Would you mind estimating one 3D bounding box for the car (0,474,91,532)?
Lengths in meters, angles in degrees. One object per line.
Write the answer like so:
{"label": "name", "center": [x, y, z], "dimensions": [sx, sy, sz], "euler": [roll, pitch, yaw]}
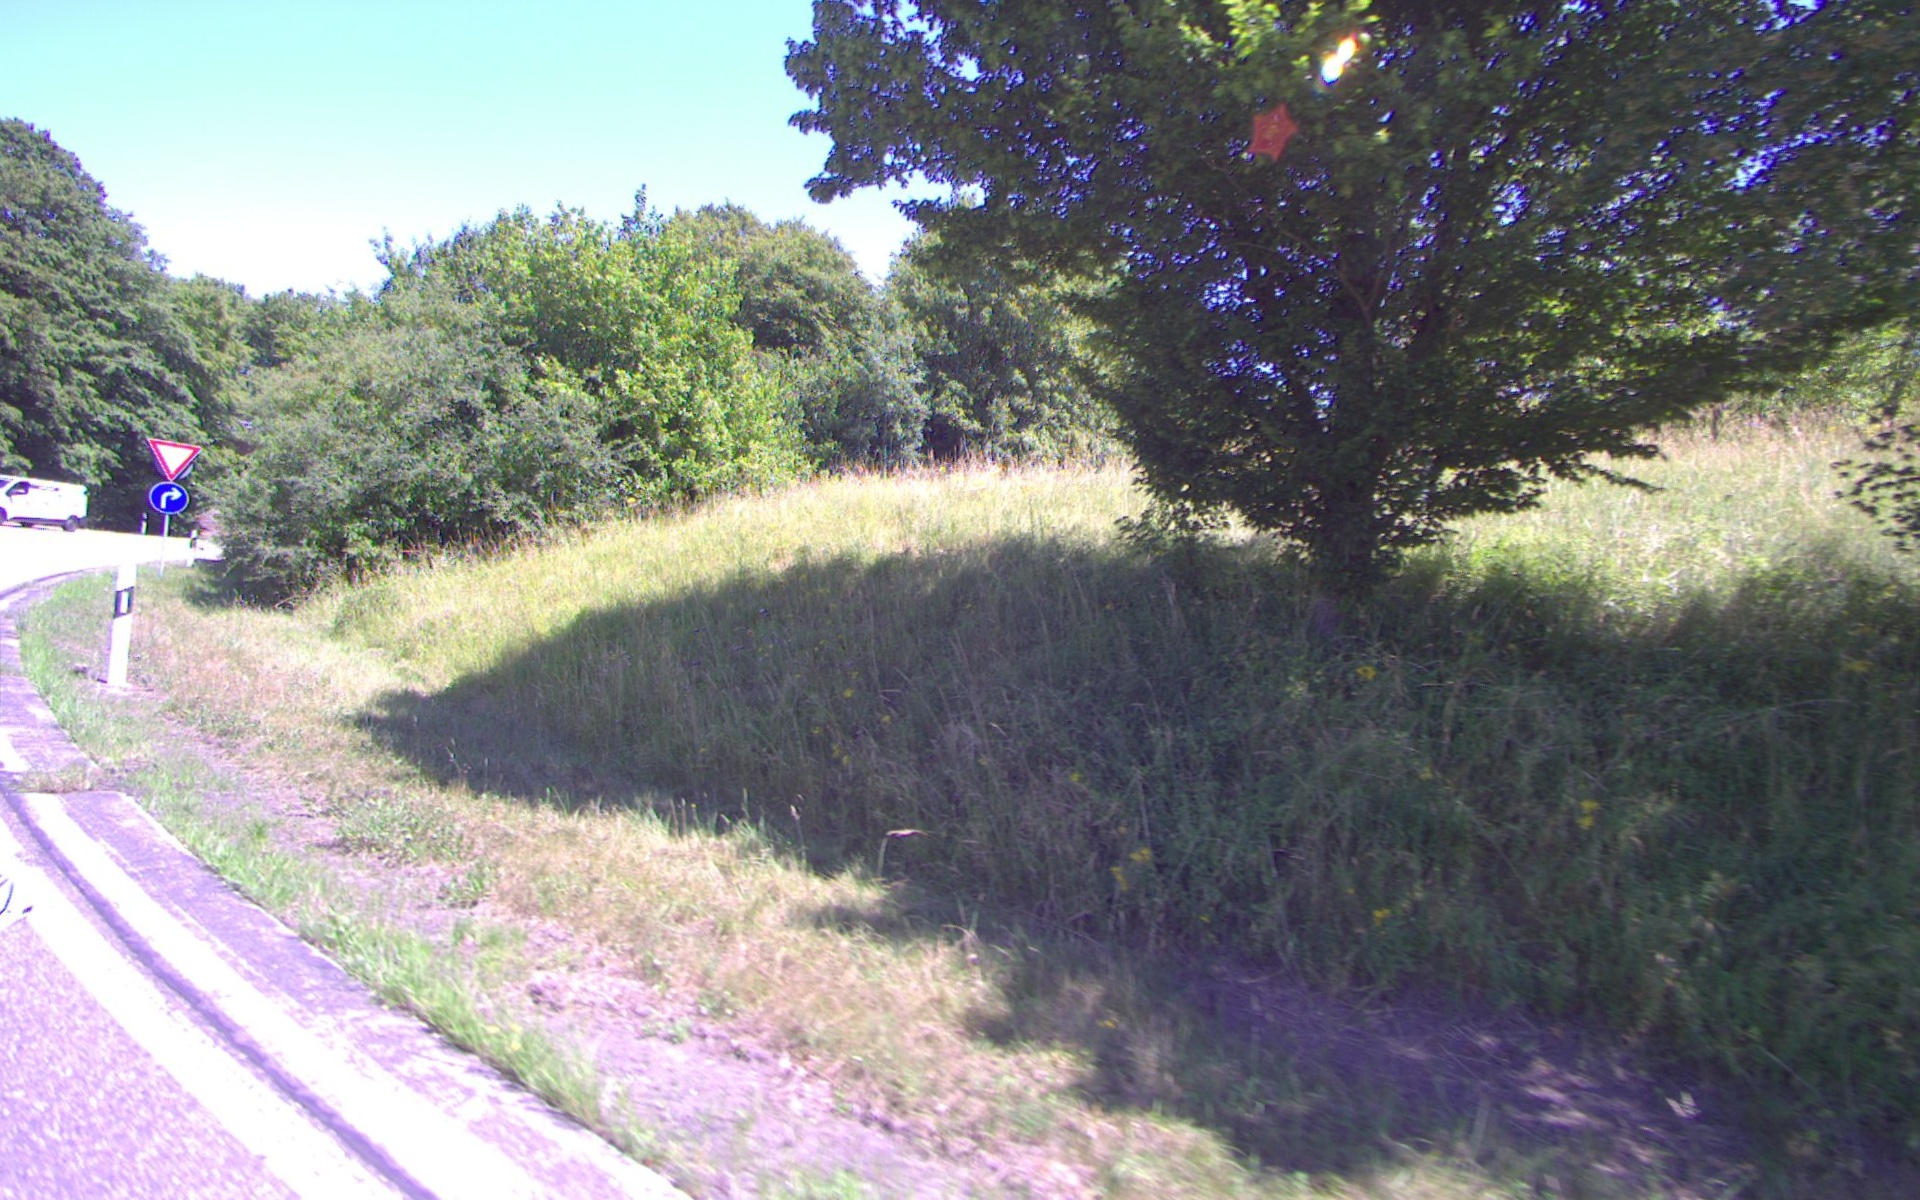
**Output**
{"label": "car", "center": [-37.047, -3.849, 39.235], "dimensions": [1.881, 1.986, 5.385], "euler": [6, 1, -6]}
